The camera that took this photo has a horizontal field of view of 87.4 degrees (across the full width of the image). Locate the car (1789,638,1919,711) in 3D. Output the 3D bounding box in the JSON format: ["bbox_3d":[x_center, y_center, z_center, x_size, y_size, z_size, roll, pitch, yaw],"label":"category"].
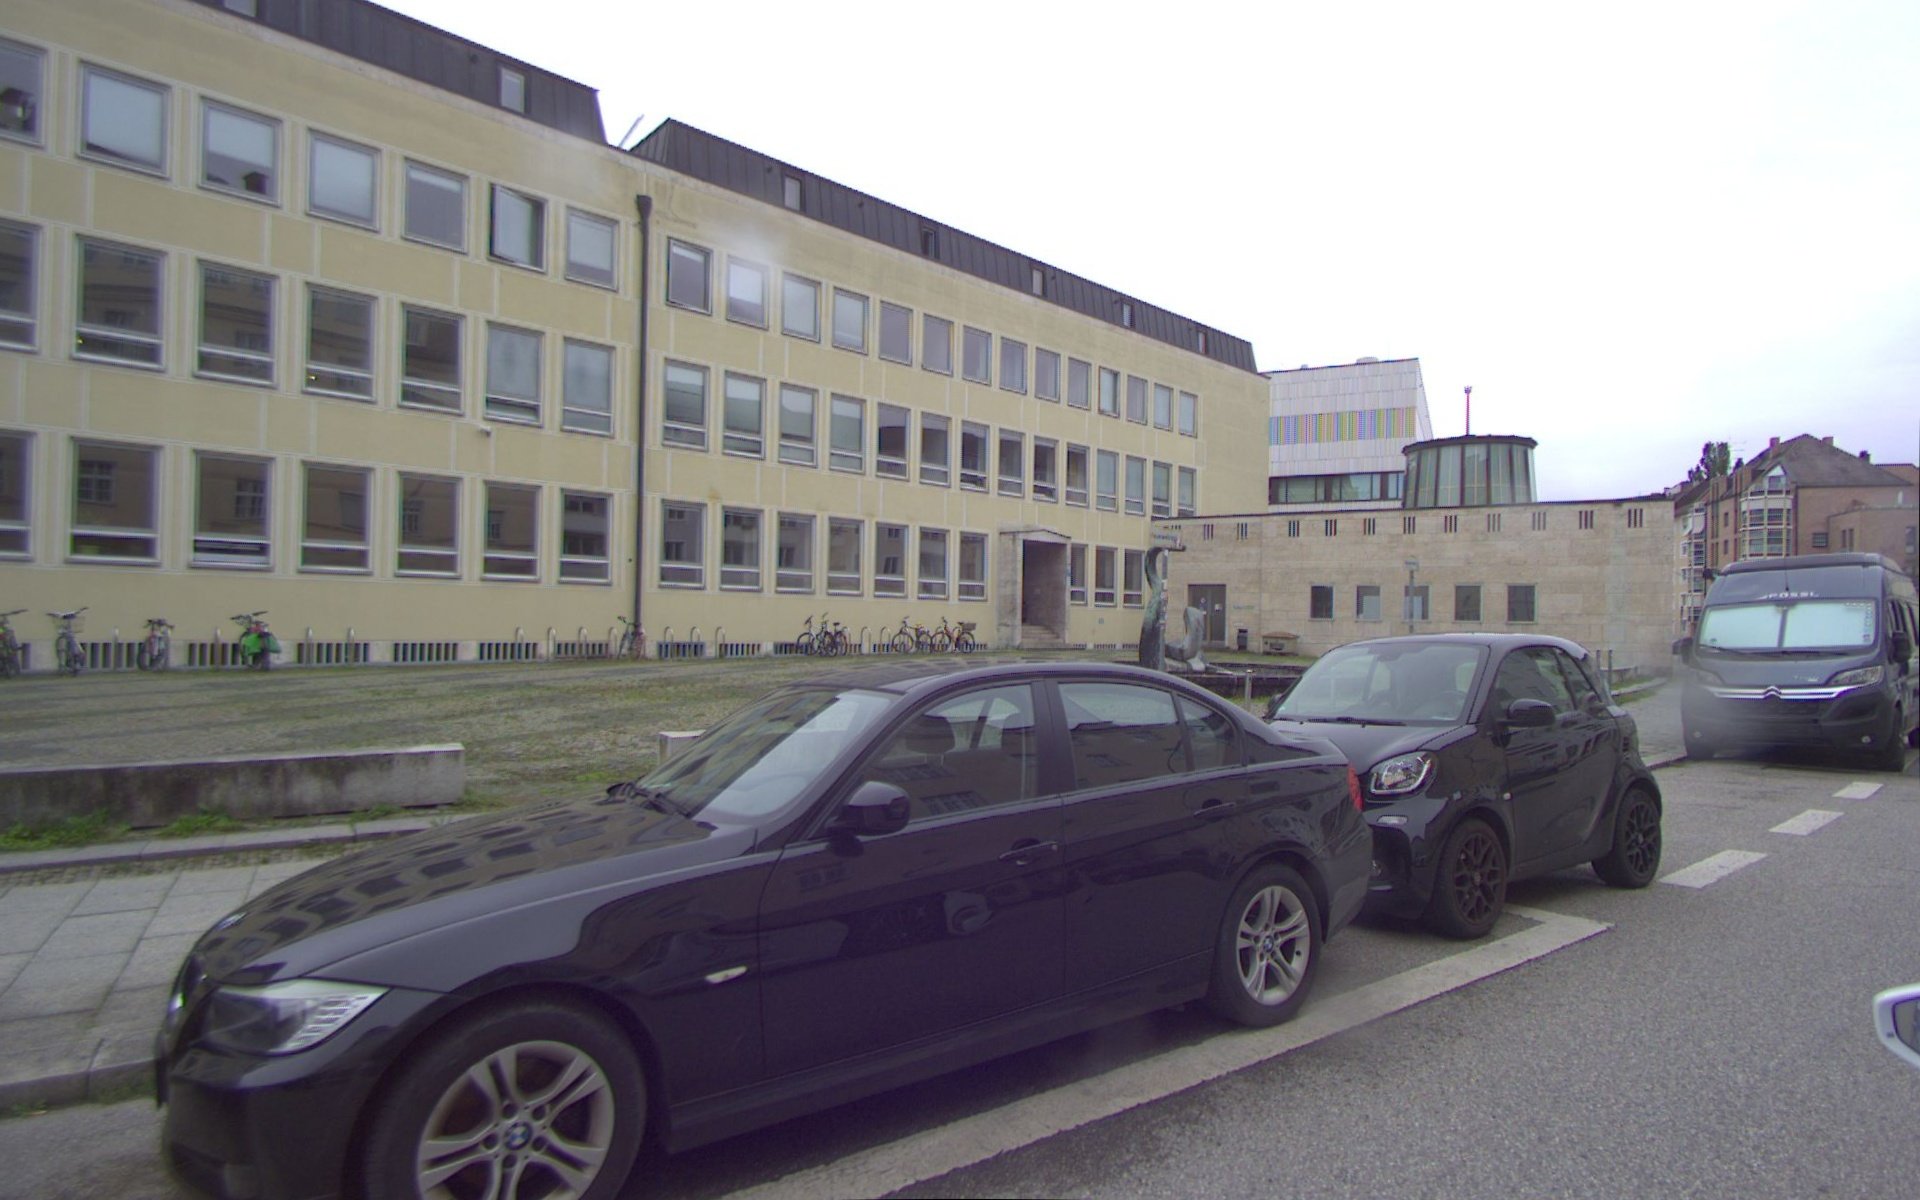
[{"bbox_3d":[20.776,1.606,21.905,3.732,1.527,1.716,-1,-3,11],"label":"car"}]

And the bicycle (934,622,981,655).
[{"bbox_3d":[-0.094,1.239,32.645,0.412,0.957,1.689,1,1,-45],"label":"bicycle"}]

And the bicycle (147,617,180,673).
[{"bbox_3d":[-14.726,0.819,18.552,0.411,0.957,1.394,1,0,-41],"label":"bicycle"}]

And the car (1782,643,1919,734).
[{"bbox_3d":[16.446,1.545,18.406,1.971,1.469,4.194,-3,-4,41],"label":"car"}]

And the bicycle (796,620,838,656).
[{"bbox_3d":[-4.155,1.086,29.100,0.412,0.957,1.455,1,1,-45],"label":"bicycle"}]

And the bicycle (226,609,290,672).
[{"bbox_3d":[-13.749,0.770,19.661,1.826,1.110,0.698,2,0,45],"label":"bicycle"}]

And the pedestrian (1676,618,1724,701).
[{"bbox_3d":[17.355,1.382,23.577,0.830,1.891,0.712,1,0,33],"label":"pedestrian"}]

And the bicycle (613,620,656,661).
[{"bbox_3d":[-8.158,1.005,25.171,0.412,0.957,1.392,1,1,-45],"label":"bicycle"}]

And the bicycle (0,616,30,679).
[{"bbox_3d":[-16.080,0.784,17.007,0.411,0.957,1.934,1,0,-41],"label":"bicycle"}]

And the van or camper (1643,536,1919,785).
[{"bbox_3d":[11.316,0.668,13.456,6.042,2.616,2.275,1,0,-43],"label":"van or camper"}]

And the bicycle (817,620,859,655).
[{"bbox_3d":[-3.619,1.097,29.738,0.412,0.957,1.455,1,1,-45],"label":"bicycle"}]

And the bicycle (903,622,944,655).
[{"bbox_3d":[-1.166,1.214,31.724,0.412,0.957,1.455,1,1,-45],"label":"bicycle"}]

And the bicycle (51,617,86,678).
[{"bbox_3d":[-15.531,0.803,17.519,0.411,0.957,1.841,1,0,-41],"label":"bicycle"}]

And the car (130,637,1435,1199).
[{"bbox_3d":[-0.234,0.902,3.899,4.420,1.484,1.763,1,-3,-34],"label":"car"}]

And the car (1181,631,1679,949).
[{"bbox_3d":[2.923,0.955,6.169,2.857,1.484,1.510,1,-3,-34],"label":"car"}]
